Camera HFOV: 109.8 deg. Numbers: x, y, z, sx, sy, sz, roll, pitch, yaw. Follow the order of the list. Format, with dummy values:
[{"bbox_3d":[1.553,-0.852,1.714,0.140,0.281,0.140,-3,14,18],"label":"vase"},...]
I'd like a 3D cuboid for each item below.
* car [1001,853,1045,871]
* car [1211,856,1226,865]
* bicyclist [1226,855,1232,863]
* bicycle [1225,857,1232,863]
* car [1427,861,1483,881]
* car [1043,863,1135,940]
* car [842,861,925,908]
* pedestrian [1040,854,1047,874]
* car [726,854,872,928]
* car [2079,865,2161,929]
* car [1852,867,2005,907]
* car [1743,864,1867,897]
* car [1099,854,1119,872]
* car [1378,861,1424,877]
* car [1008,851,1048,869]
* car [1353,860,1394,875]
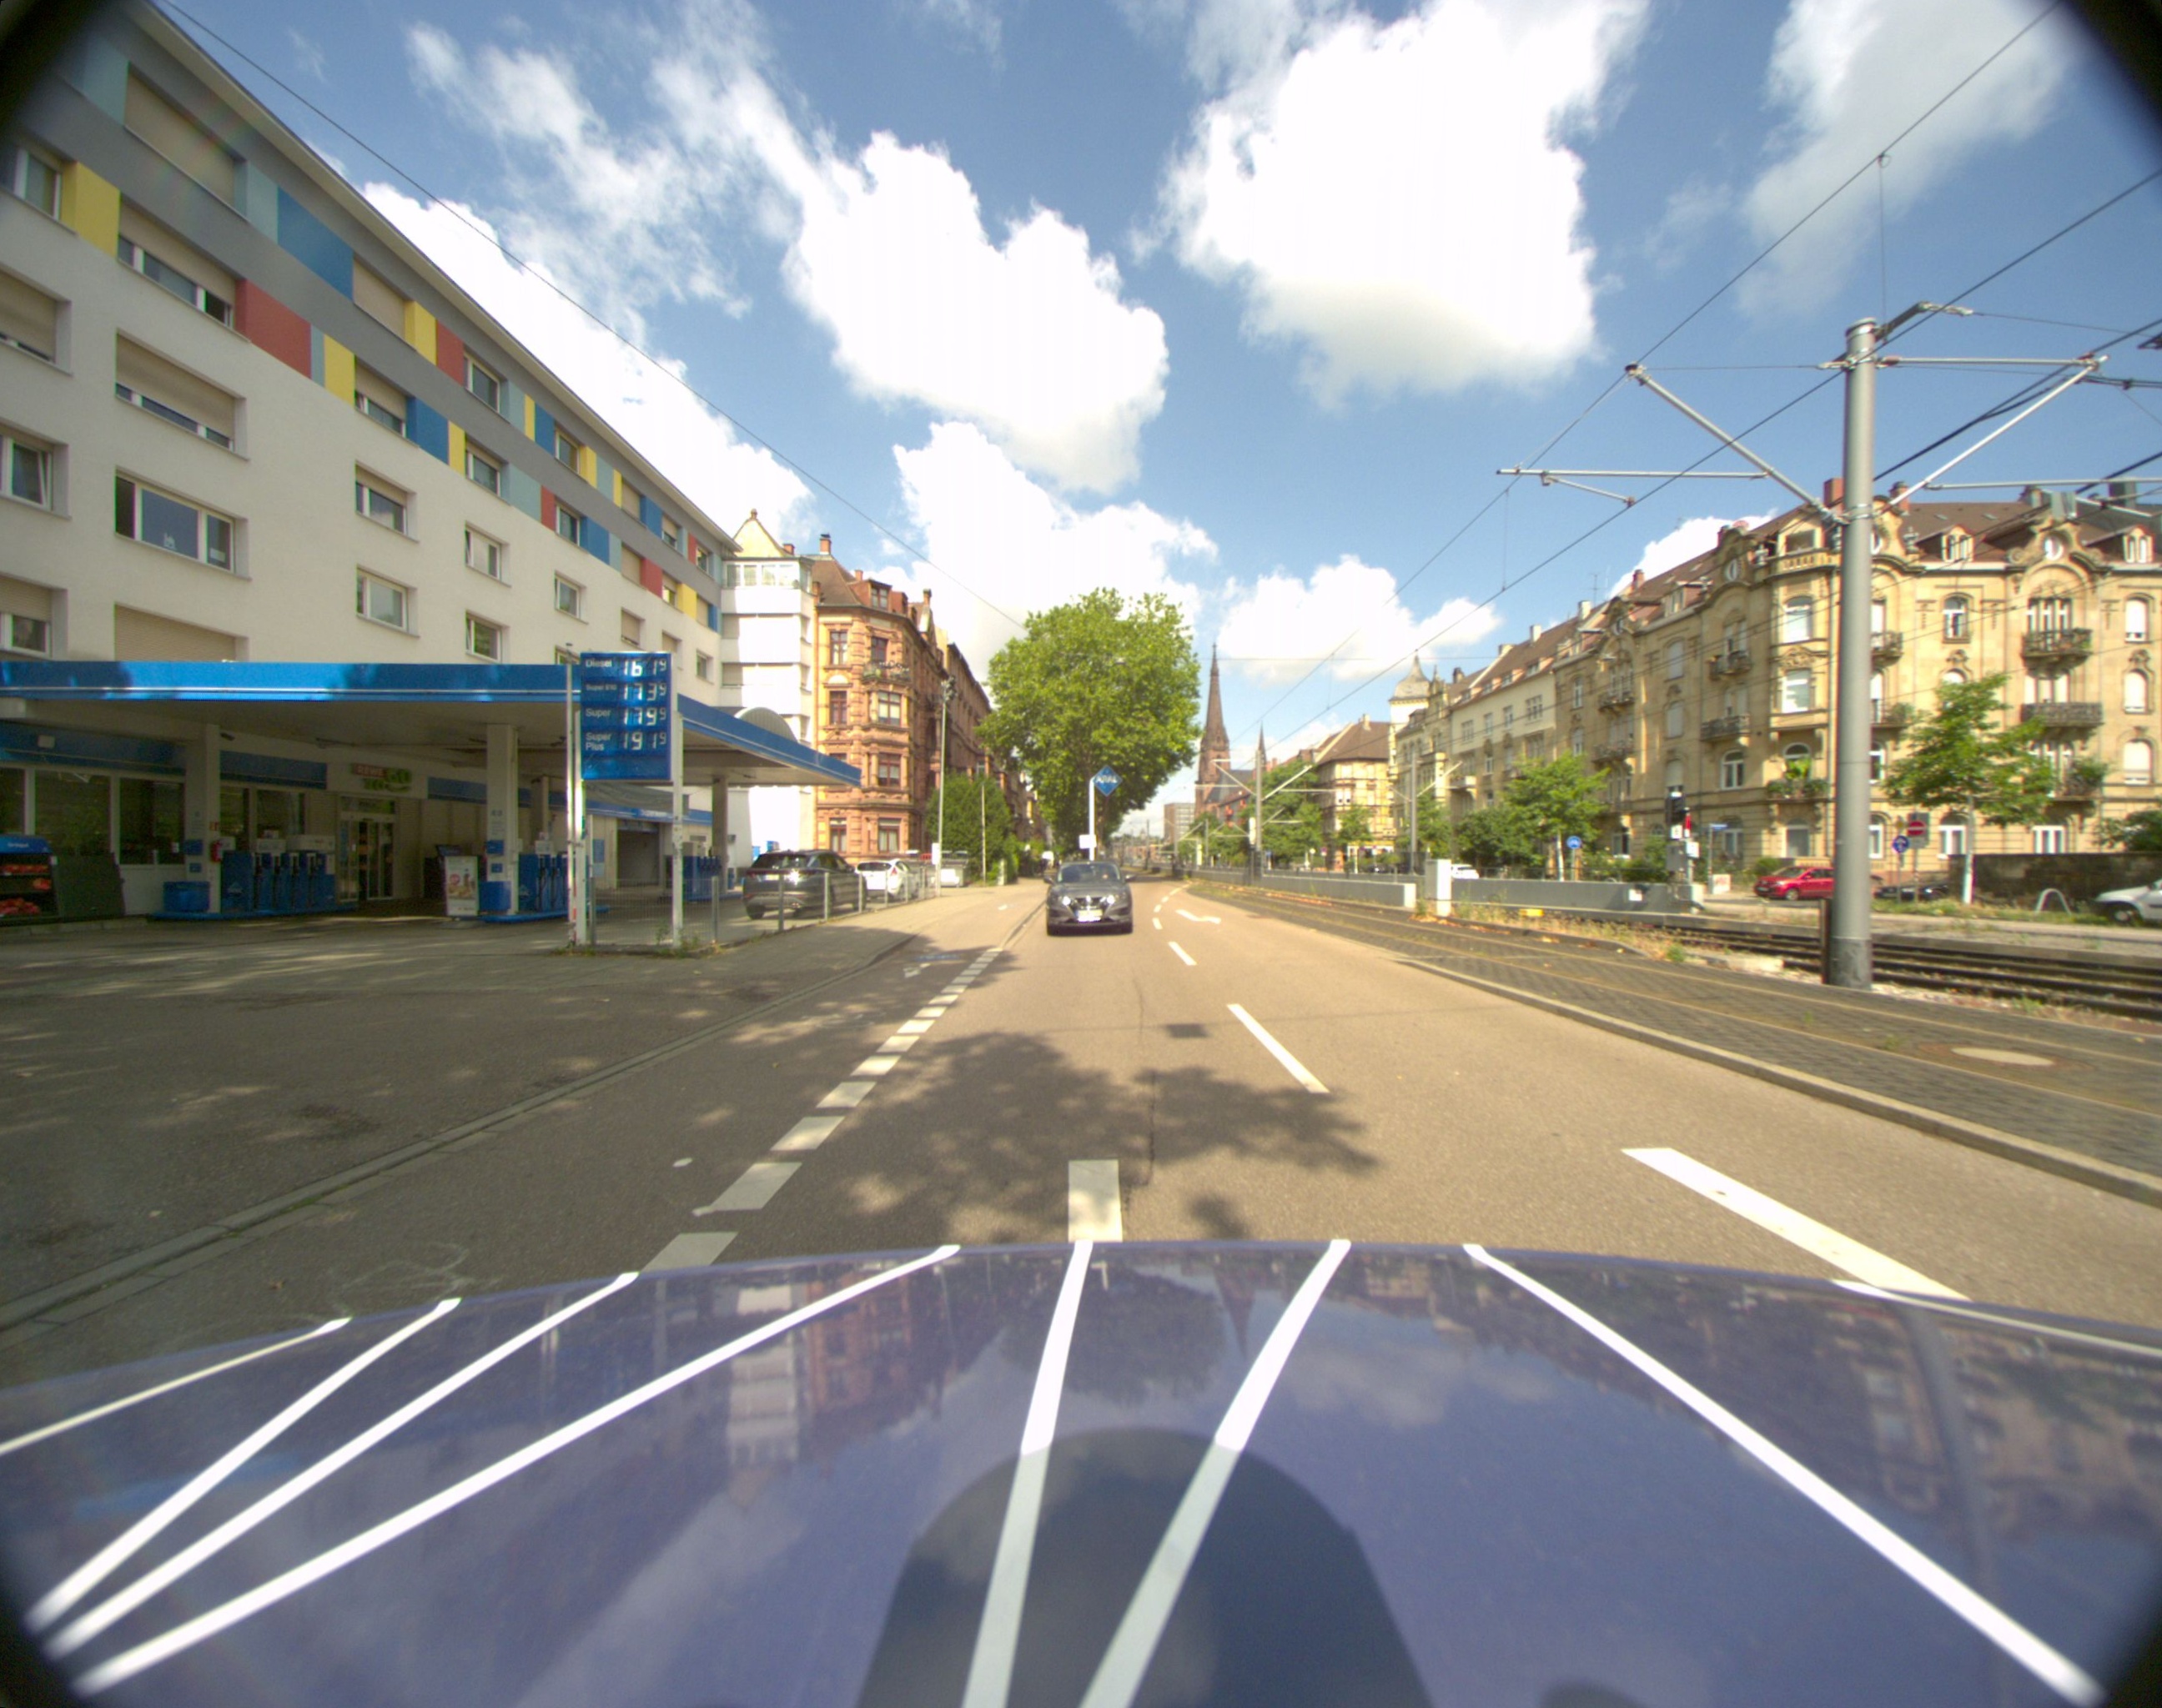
[{"bbox_3d":[-6.430,0.869,83.733,4.735,1.772,2.004,-1,0,-8],"label":"car"},{"bbox_3d":[25.875,1.152,143.372,1.998,1.628,4.114,0,0,0],"label":"car"},{"bbox_3d":[24.683,0.808,127.080,0.769,1.330,1.049,2,0,1],"label":"bicyclist"},{"bbox_3d":[24.681,0.989,127.118,0.778,0.973,2.141,2,0,1],"label":"bicycle"},{"bbox_3d":[26.548,1.196,54.067,1.756,1.320,4.312,0,0,-2],"label":"car"},{"bbox_3d":[0.180,0.966,17.265,1.800,1.454,4.567,0,0,1],"label":"car"},{"bbox_3d":[-6.664,0.978,26.069,1.810,1.447,4.001,-1,0,0],"label":"car"},{"bbox_3d":[-3.350,0.879,68.305,0.565,1.775,0.630,0,0,0],"label":"pedestrian"},{"bbox_3d":[-6.817,0.825,18.944,1.810,1.593,4.583,-1,0,1],"label":"car"},{"bbox_3d":[26.582,1.029,17.277,1.936,1.495,4.413,0,0,-1],"label":"car"},{"bbox_3d":[32.728,1.241,29.422,3.972,1.455,1.723,0,0,1],"label":"car"},{"bbox_3d":[33.389,1.204,35.147,3.789,1.455,1.933,0,0,3],"label":"car"},{"bbox_3d":[2.469,0.776,67.303,1.557,1.476,3.858,2,0,0],"label":"car"},{"bbox_3d":[26.541,1.221,63.135,2.025,1.319,4.100,0,0,-2],"label":"car"},{"bbox_3d":[-6.243,0.676,89.038,4.411,1.927,1.982,3,0,-8],"label":"car"},{"bbox_3d":[26.352,1.228,68.640,1.953,1.319,4.726,0,0,1],"label":"car"}]
